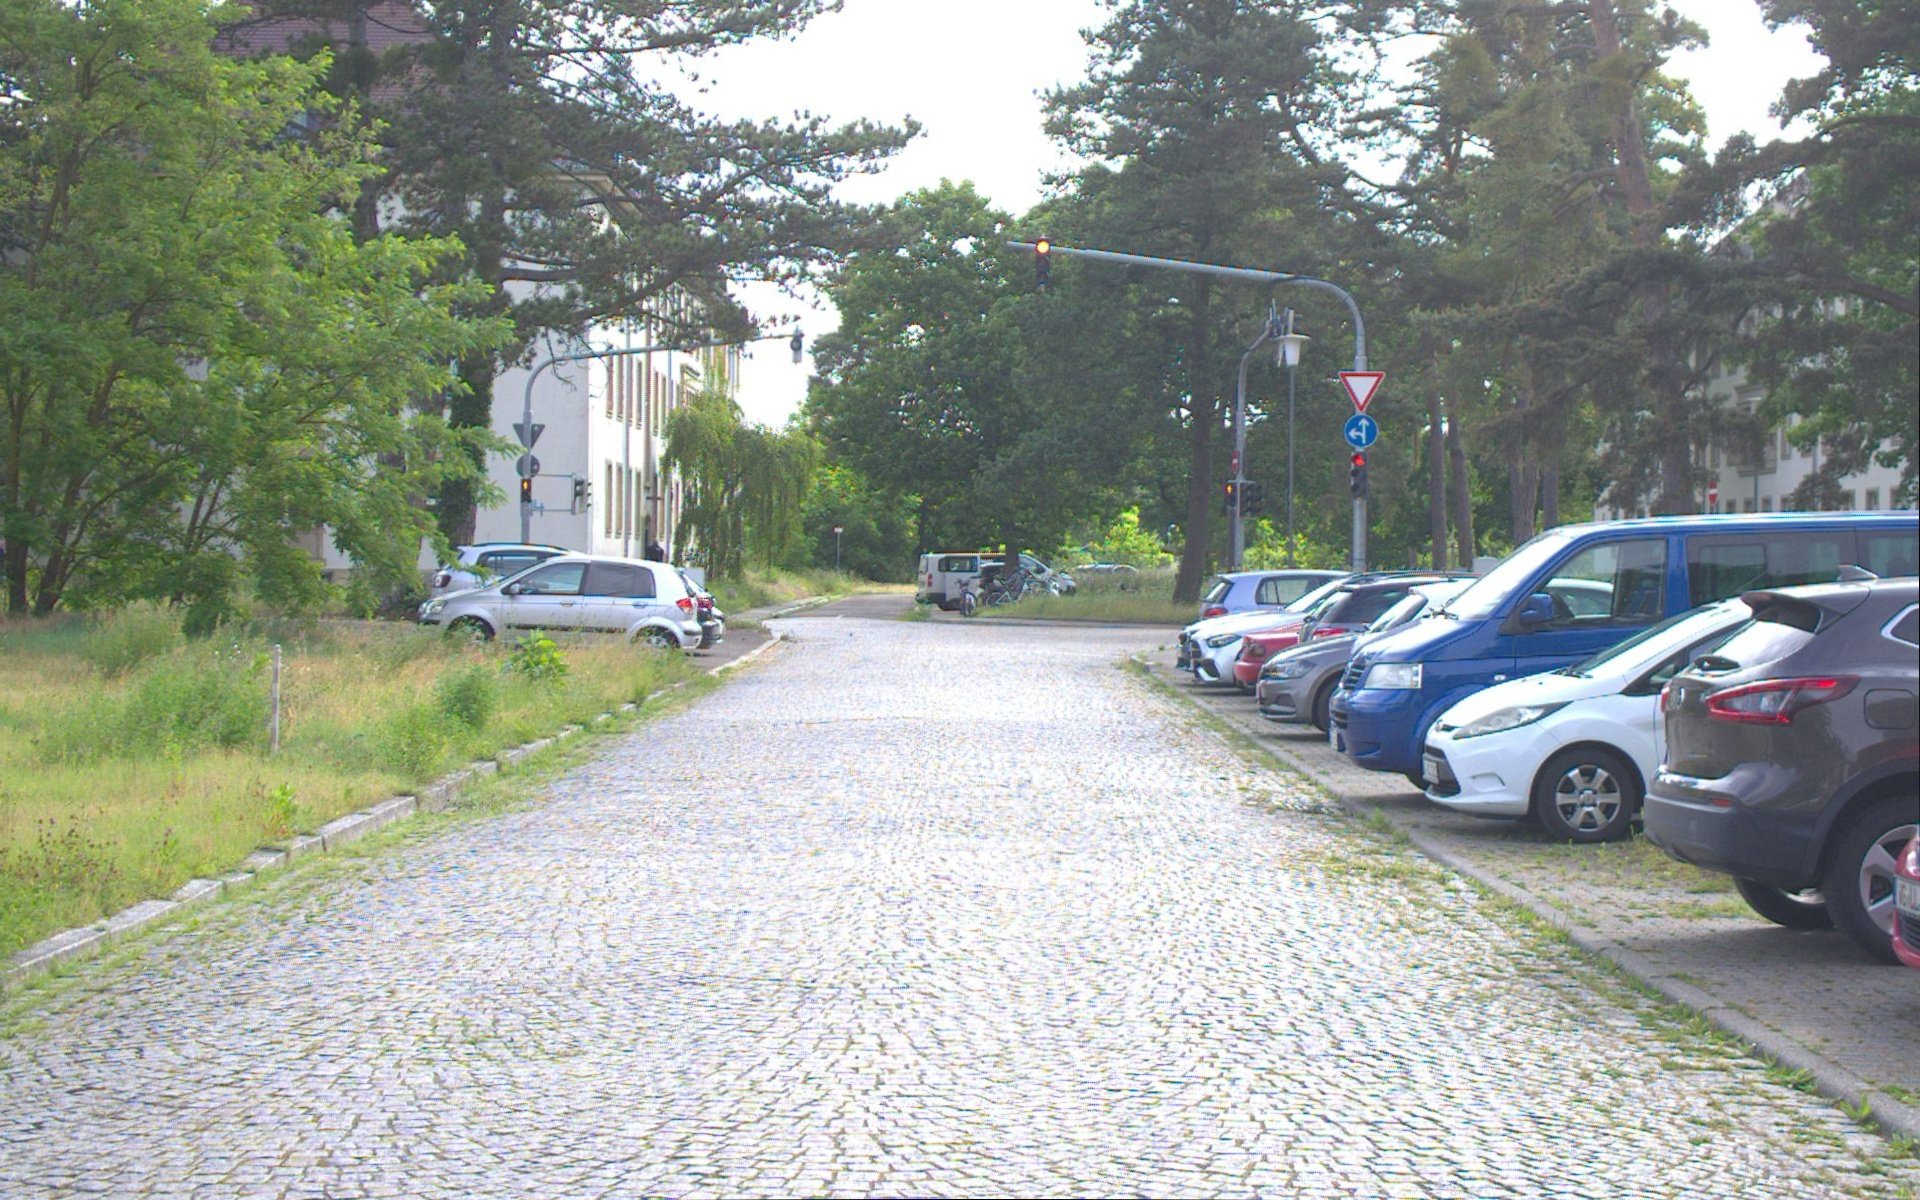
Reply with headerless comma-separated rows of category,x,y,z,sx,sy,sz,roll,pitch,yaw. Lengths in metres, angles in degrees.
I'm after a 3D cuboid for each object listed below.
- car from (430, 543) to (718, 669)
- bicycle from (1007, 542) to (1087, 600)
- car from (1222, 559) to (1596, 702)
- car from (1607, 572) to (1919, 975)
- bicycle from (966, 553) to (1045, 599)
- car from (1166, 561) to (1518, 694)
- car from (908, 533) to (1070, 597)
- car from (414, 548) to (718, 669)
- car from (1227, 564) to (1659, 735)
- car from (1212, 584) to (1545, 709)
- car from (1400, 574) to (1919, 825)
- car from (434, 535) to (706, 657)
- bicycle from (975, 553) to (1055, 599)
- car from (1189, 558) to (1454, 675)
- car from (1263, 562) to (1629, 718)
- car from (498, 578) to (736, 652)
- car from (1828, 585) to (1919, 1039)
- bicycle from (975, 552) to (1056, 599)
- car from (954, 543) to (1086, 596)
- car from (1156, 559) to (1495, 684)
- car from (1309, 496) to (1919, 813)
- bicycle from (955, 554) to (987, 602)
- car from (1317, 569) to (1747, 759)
car,-5.492,0.070,49.041,3.986,1.700,2.000,1,1,-6
bicycle,2.472,-0.825,97.588,2.160,1.610,0.812,1,1,-6
car,5.146,0.344,39.685,3.986,1.538,1.664,1,1,-5
car,4.909,0.705,14.576,3.950,1.575,1.762,1,1,-1
bicycle,1.300,-0.694,98.100,2.160,1.264,0.812,1,1,-6
car,4.632,0.322,41.946,3.986,1.538,1.664,1,1,-5
car,0.950,-1.170,114.122,5.049,2.007,2.001,1,1,-10
car,-5.319,0.096,46.551,3.986,1.546,2.000,1,1,-6
car,4.445,0.443,31.848,3.597,1.501,1.665,1,1,-10
car,4.526,0.495,37.443,3.291,1.263,1.664,1,1,-5
car,4.686,0.573,21.009,3.722,1.419,1.655,-1,1,-2
car,-5.901,-0.076,52.037,3.986,1.744,1.927,1,1,-7
bicycle,1.539,-0.682,96.885,2.160,1.264,0.812,1,1,-6
car,4.951,0.212,47.304,3.388,1.538,1.391,1,1,-5
car,4.896,0.396,34.817,3.291,1.499,1.665,1,1,-10
car,-5.418,0.230,54.348,3.670,1.090,1.647,1,1,-6
car,5.242,0.747,11.942,3.987,1.513,1.738,1,1,0
bicycle,1.544,-0.679,96.298,2.160,1.264,0.812,1,1,-6
car,1.919,-0.990,110.841,3.986,1.638,2.000,1,1,-6
car,4.726,0.263,44.736,4.122,1.538,1.664,1,1,-5
car,4.895,0.349,23.463,4.782,2.033,1.738,1,1,-2
bicycle,0.294,-0.609,92.546,0.810,1.264,1.973,1,1,1
car,4.773,0.520,29.008,3.292,1.499,1.664,1,1,-2
